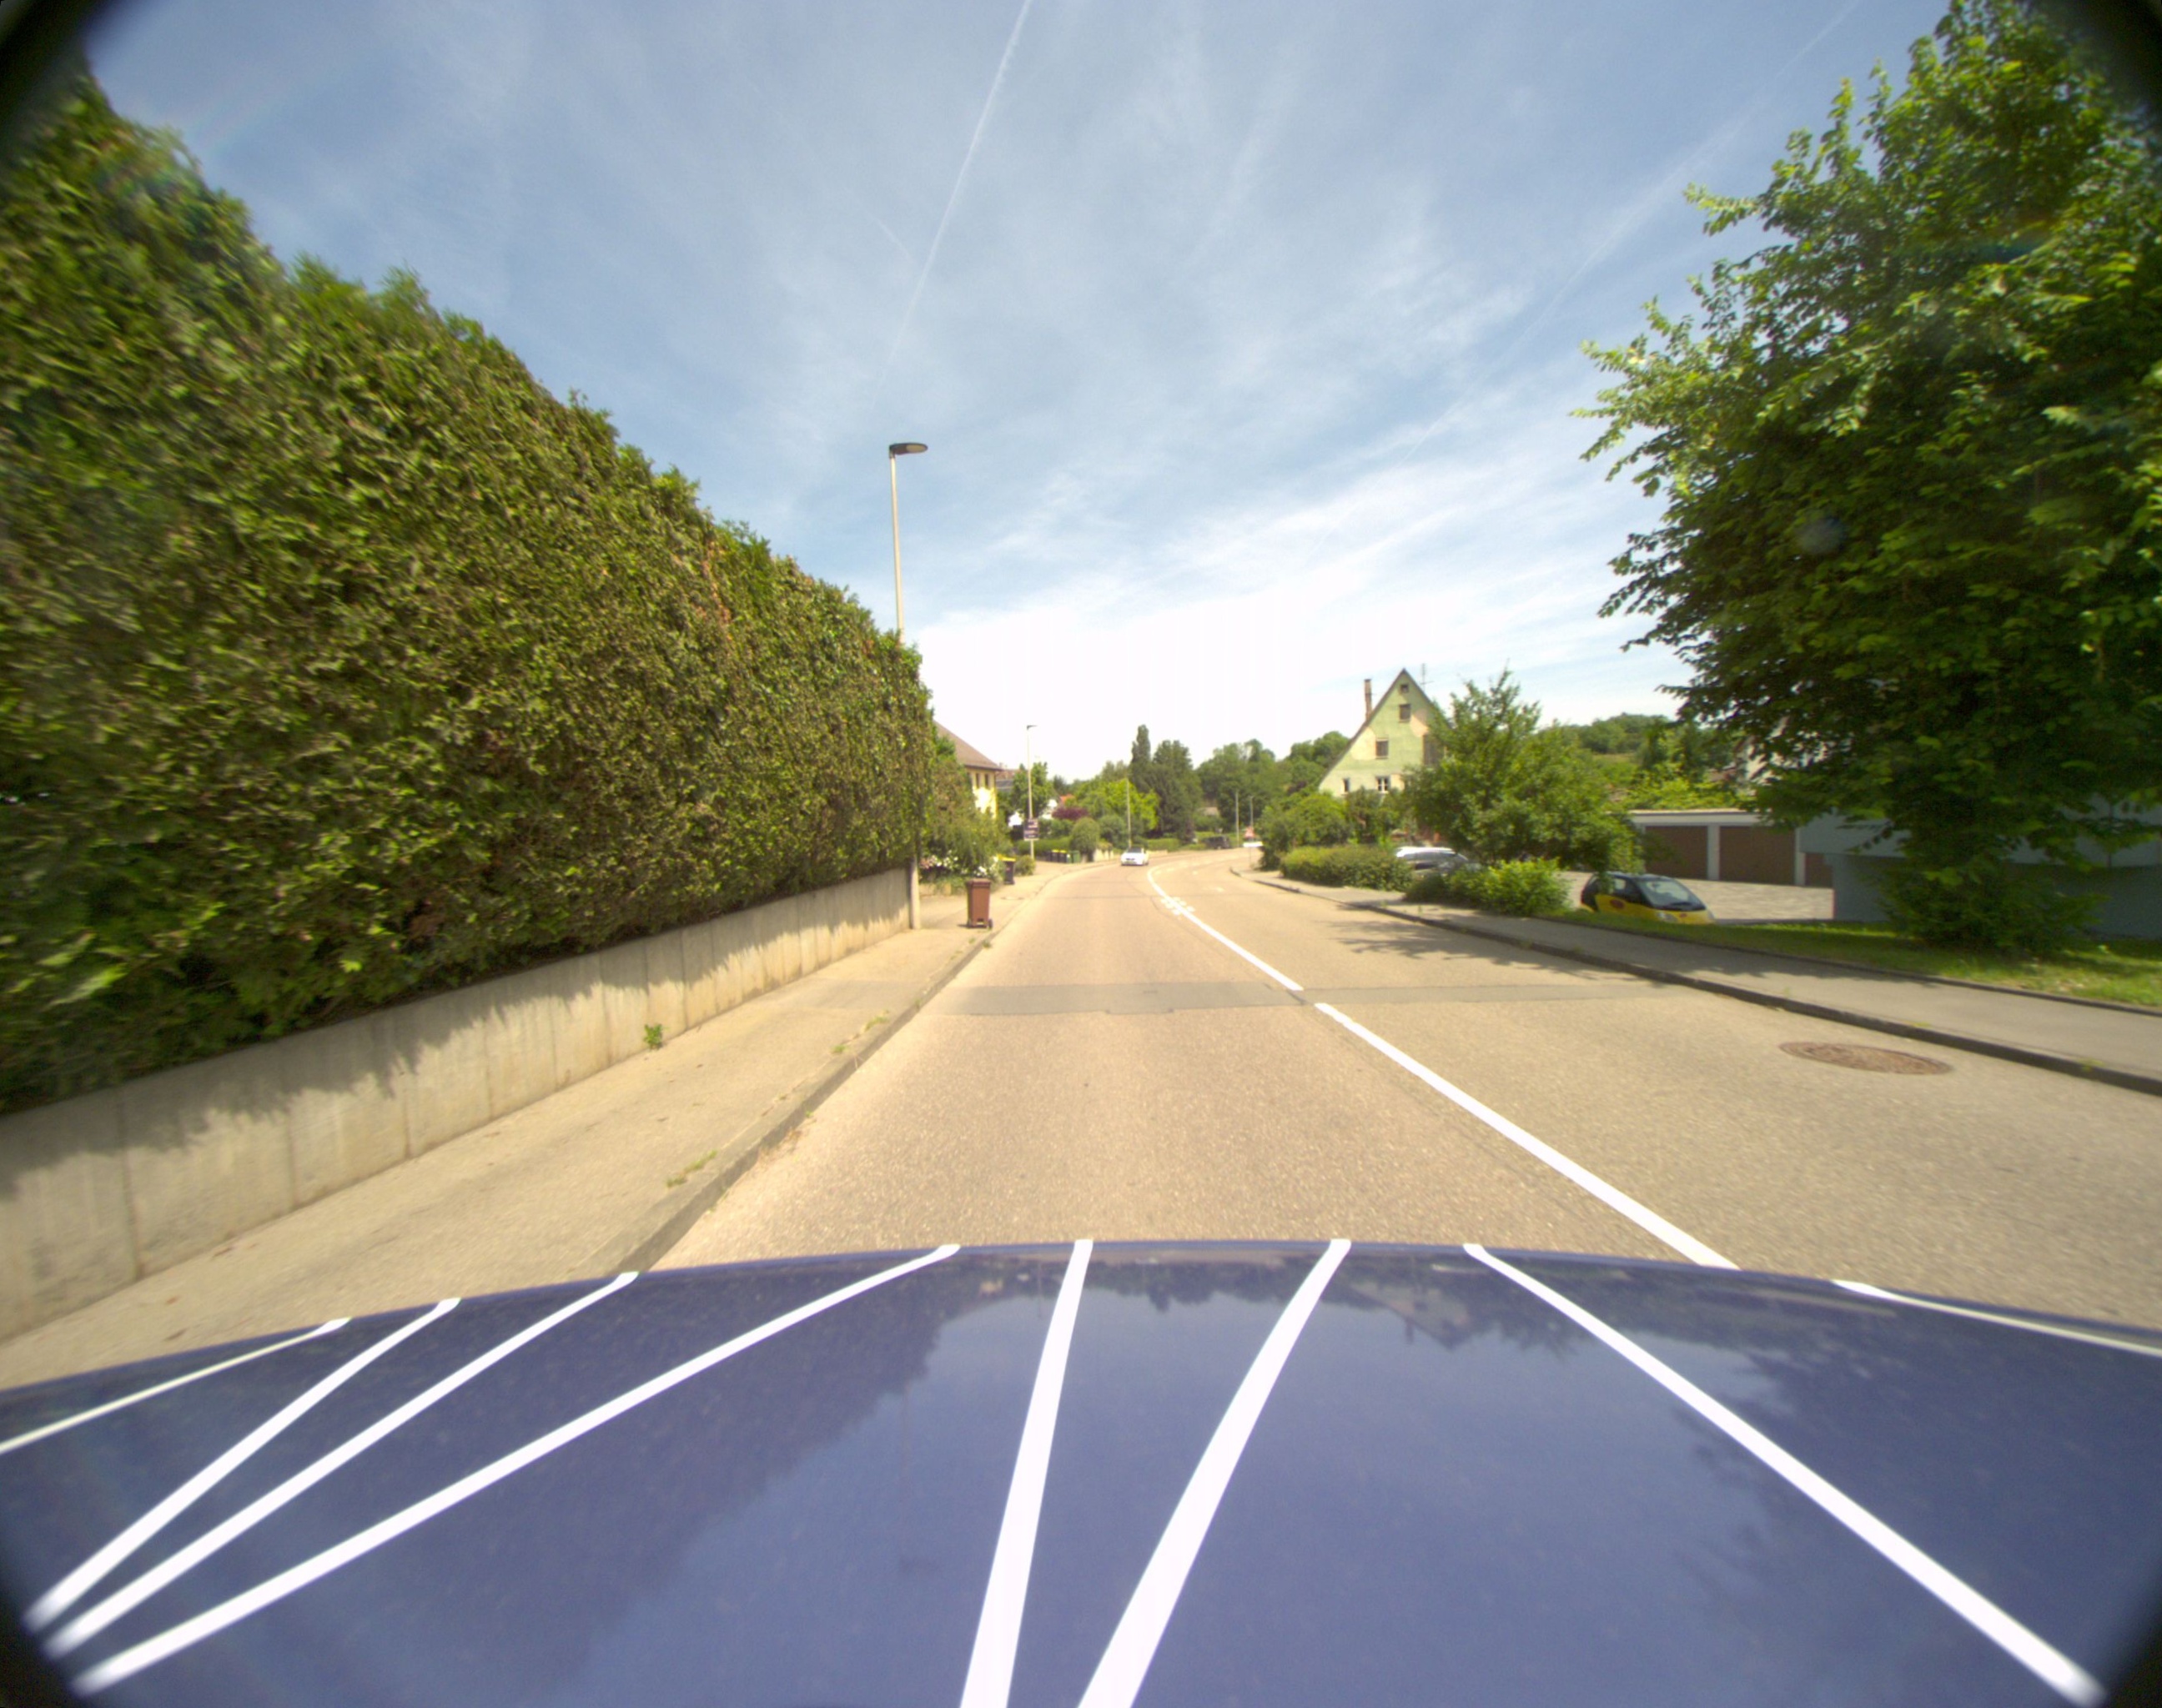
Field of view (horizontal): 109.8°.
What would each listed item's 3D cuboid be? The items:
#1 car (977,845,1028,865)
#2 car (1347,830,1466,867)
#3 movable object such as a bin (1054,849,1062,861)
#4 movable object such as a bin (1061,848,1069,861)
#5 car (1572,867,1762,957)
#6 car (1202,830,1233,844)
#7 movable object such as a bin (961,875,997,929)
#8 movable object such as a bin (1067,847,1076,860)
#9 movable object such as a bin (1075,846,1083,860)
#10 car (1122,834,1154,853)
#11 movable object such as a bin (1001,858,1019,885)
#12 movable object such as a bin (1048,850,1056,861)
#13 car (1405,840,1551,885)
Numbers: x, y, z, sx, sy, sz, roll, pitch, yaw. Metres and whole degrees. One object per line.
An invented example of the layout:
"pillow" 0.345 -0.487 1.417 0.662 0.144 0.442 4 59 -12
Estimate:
"car" -6.372 0.114 61.597 3.685 1.410 1.646 -2 1 19
"car" 13.215 -0.242 31.040 3.997 1.379 1.999 -2 2 -2
"movable object such as a bin" -1.957 0.080 64.755 0.485 1.016 0.565 -2 1 22
"movable object such as a bin" -1.351 0.051 64.543 0.485 1.016 0.565 -2 1 22
"car" 12.774 1.196 16.825 1.475 1.532 3.229 -1 4 -6
"car" 19.272 -2.388 107.188 3.900 1.939 1.959 -1 2 33
"movable object such as a bin" -1.984 0.924 14.844 0.590 0.972 0.786 0 2 0
"movable object such as a bin" -0.796 -0.009 64.296 0.485 1.064 0.565 -2 1 22
"movable object such as a bin" -0.162 -0.069 64.110 0.485 1.101 0.565 -2 1 15
"car" 4.742 -0.903 62.791 1.824 1.543 4.004 0 1 18
"movable object such as a bin" -2.931 0.714 31.468 0.589 1.053 0.919 -1 2 3
"movable object such as a bin" -2.499 0.138 64.898 0.449 0.950 0.516 -2 1 18
"car" 13.213 0.255 25.464 3.966 1.240 1.646 3 2 0
